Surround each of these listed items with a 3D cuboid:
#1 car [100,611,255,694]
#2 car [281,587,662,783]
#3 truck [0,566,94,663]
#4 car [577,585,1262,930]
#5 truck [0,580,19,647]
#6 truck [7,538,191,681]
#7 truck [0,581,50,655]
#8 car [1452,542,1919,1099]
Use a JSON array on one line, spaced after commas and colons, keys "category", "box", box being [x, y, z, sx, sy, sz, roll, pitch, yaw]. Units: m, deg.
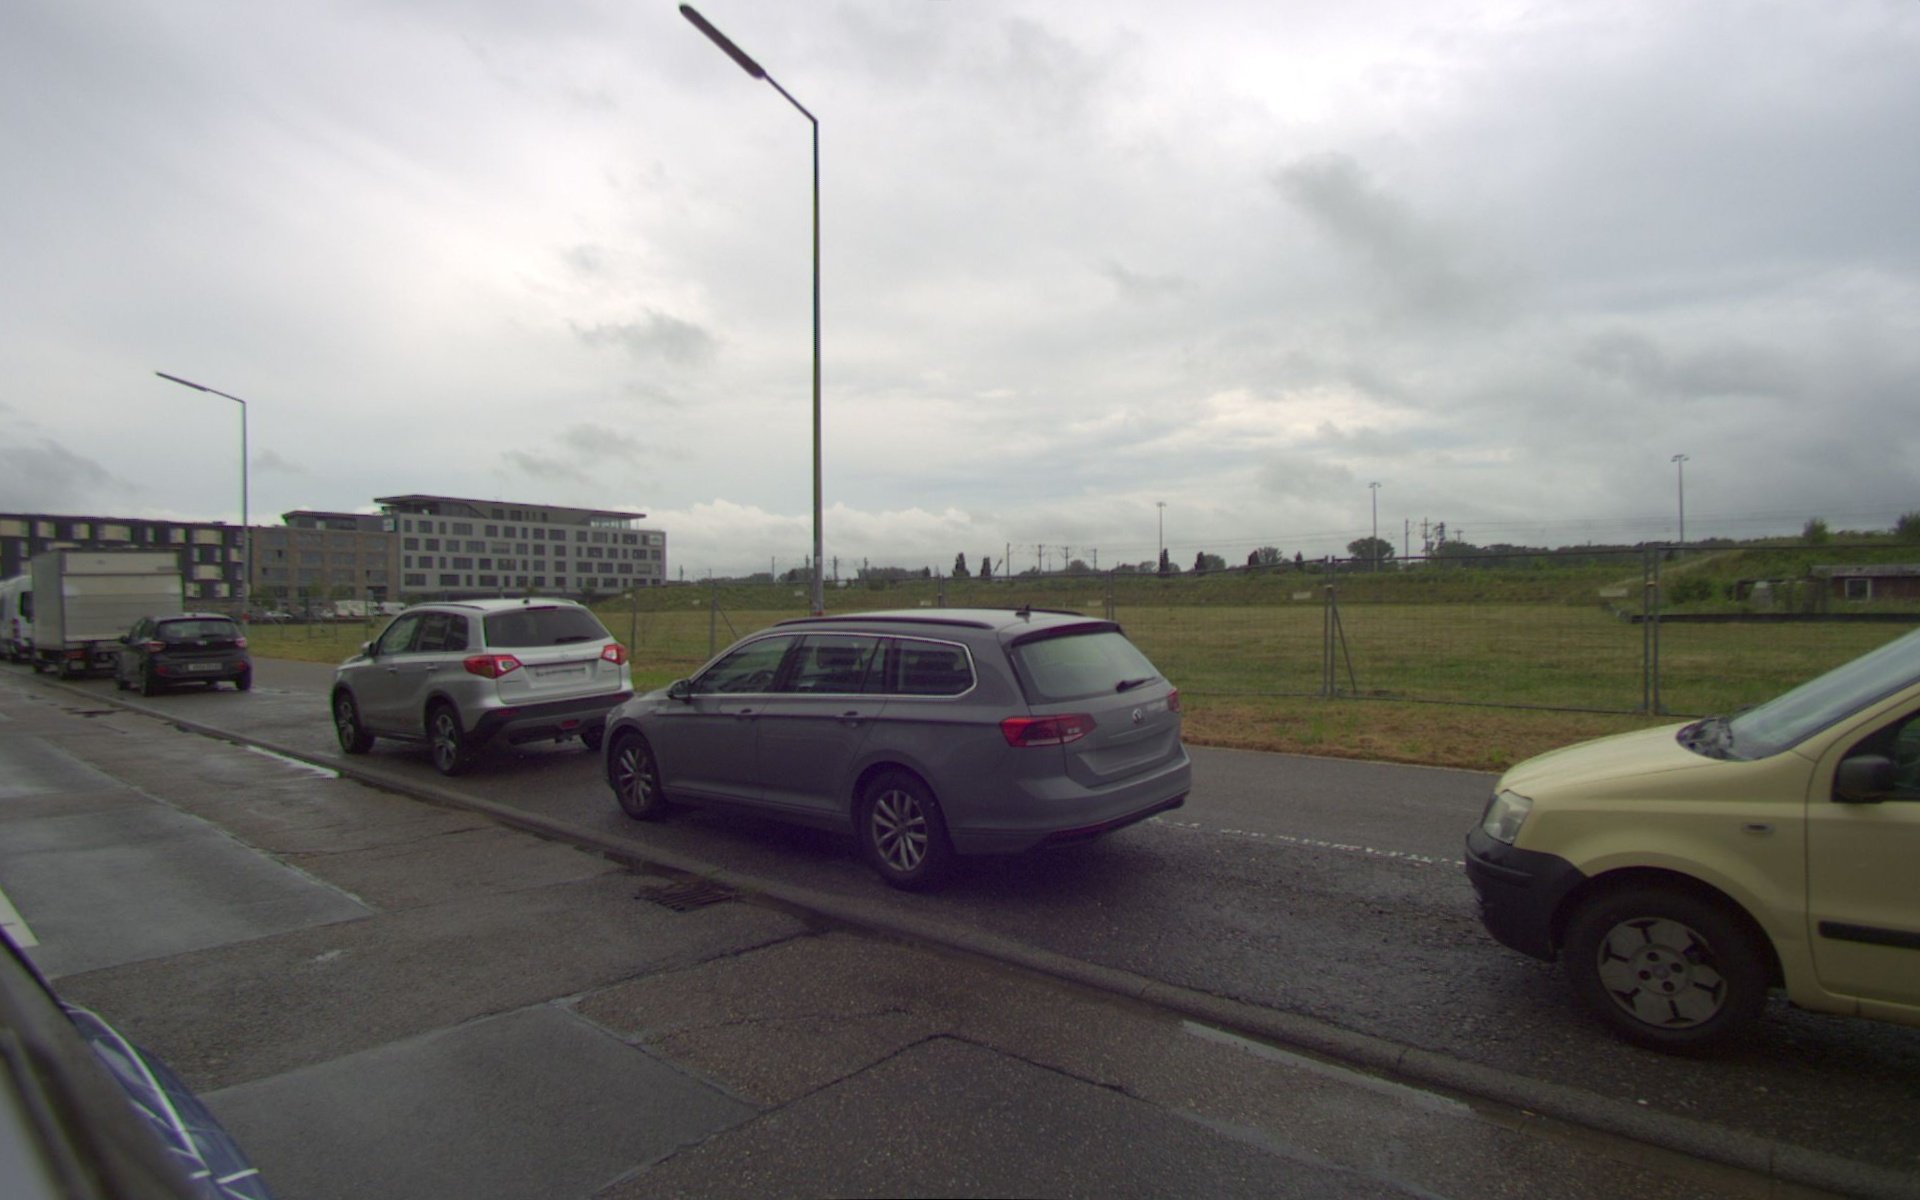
[{"category": "car", "box": [-15.516, 0.959, 19.988, 4.155, 1.474, 1.655, -1, -1, 41]}, {"category": "car", "box": [-5.511, 0.760, 11.066, 4.985, 1.619, 1.834, -1, 2, 40]}, {"category": "truck", "box": [-29.365, 0.443, 32.252, 6.739, 2.787, 2.018, -1, 0, 44]}, {"category": "car", "box": [-0.562, 0.716, 6.852, 4.669, 1.540, 1.818, 0, 2, 42]}, {"category": "truck", "box": [-41.827, 0.595, 43.025, 5.287, 2.767, 2.152, -1, 0, 41]}, {"category": "truck", "box": [-21.352, 0.216, 24.965, 6.696, 3.091, 2.411, -1, 0, 41]}, {"category": "truck", "box": [-36.281, 0.674, 38.215, 6.128, 2.626, 2.152, -1, 0, 41]}, {"category": "car", "box": [3.943, 0.625, 2.993, 4.207, 1.587, 1.708, 0, 0, 40]}]
